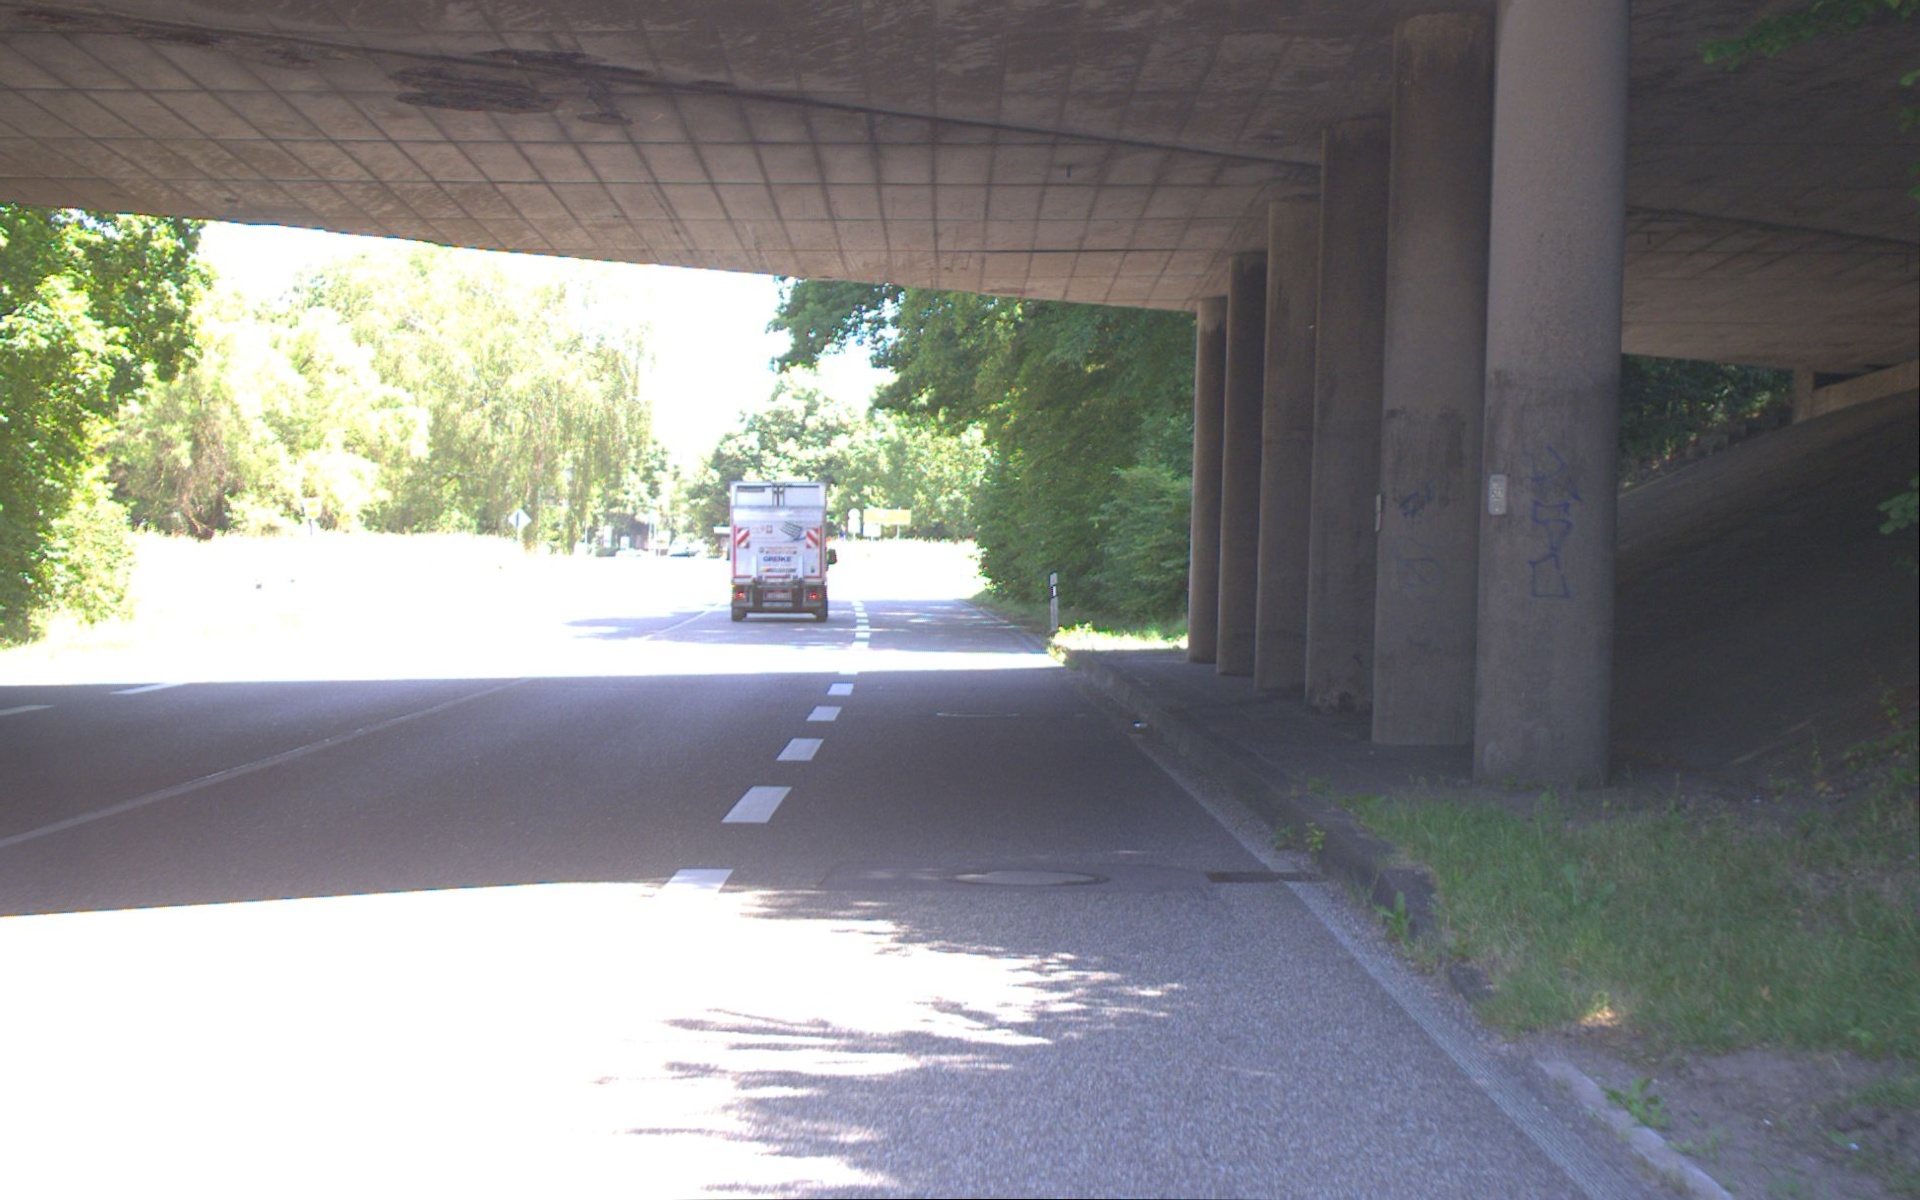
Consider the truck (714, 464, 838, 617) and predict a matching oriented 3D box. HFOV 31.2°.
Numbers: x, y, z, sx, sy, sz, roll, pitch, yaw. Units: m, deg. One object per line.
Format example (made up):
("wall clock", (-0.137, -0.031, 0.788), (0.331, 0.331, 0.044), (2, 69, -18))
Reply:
("truck", (-3.952, -1.302, 74.034), (2.533, 3.124, 5.362), (1, 1, -3))
